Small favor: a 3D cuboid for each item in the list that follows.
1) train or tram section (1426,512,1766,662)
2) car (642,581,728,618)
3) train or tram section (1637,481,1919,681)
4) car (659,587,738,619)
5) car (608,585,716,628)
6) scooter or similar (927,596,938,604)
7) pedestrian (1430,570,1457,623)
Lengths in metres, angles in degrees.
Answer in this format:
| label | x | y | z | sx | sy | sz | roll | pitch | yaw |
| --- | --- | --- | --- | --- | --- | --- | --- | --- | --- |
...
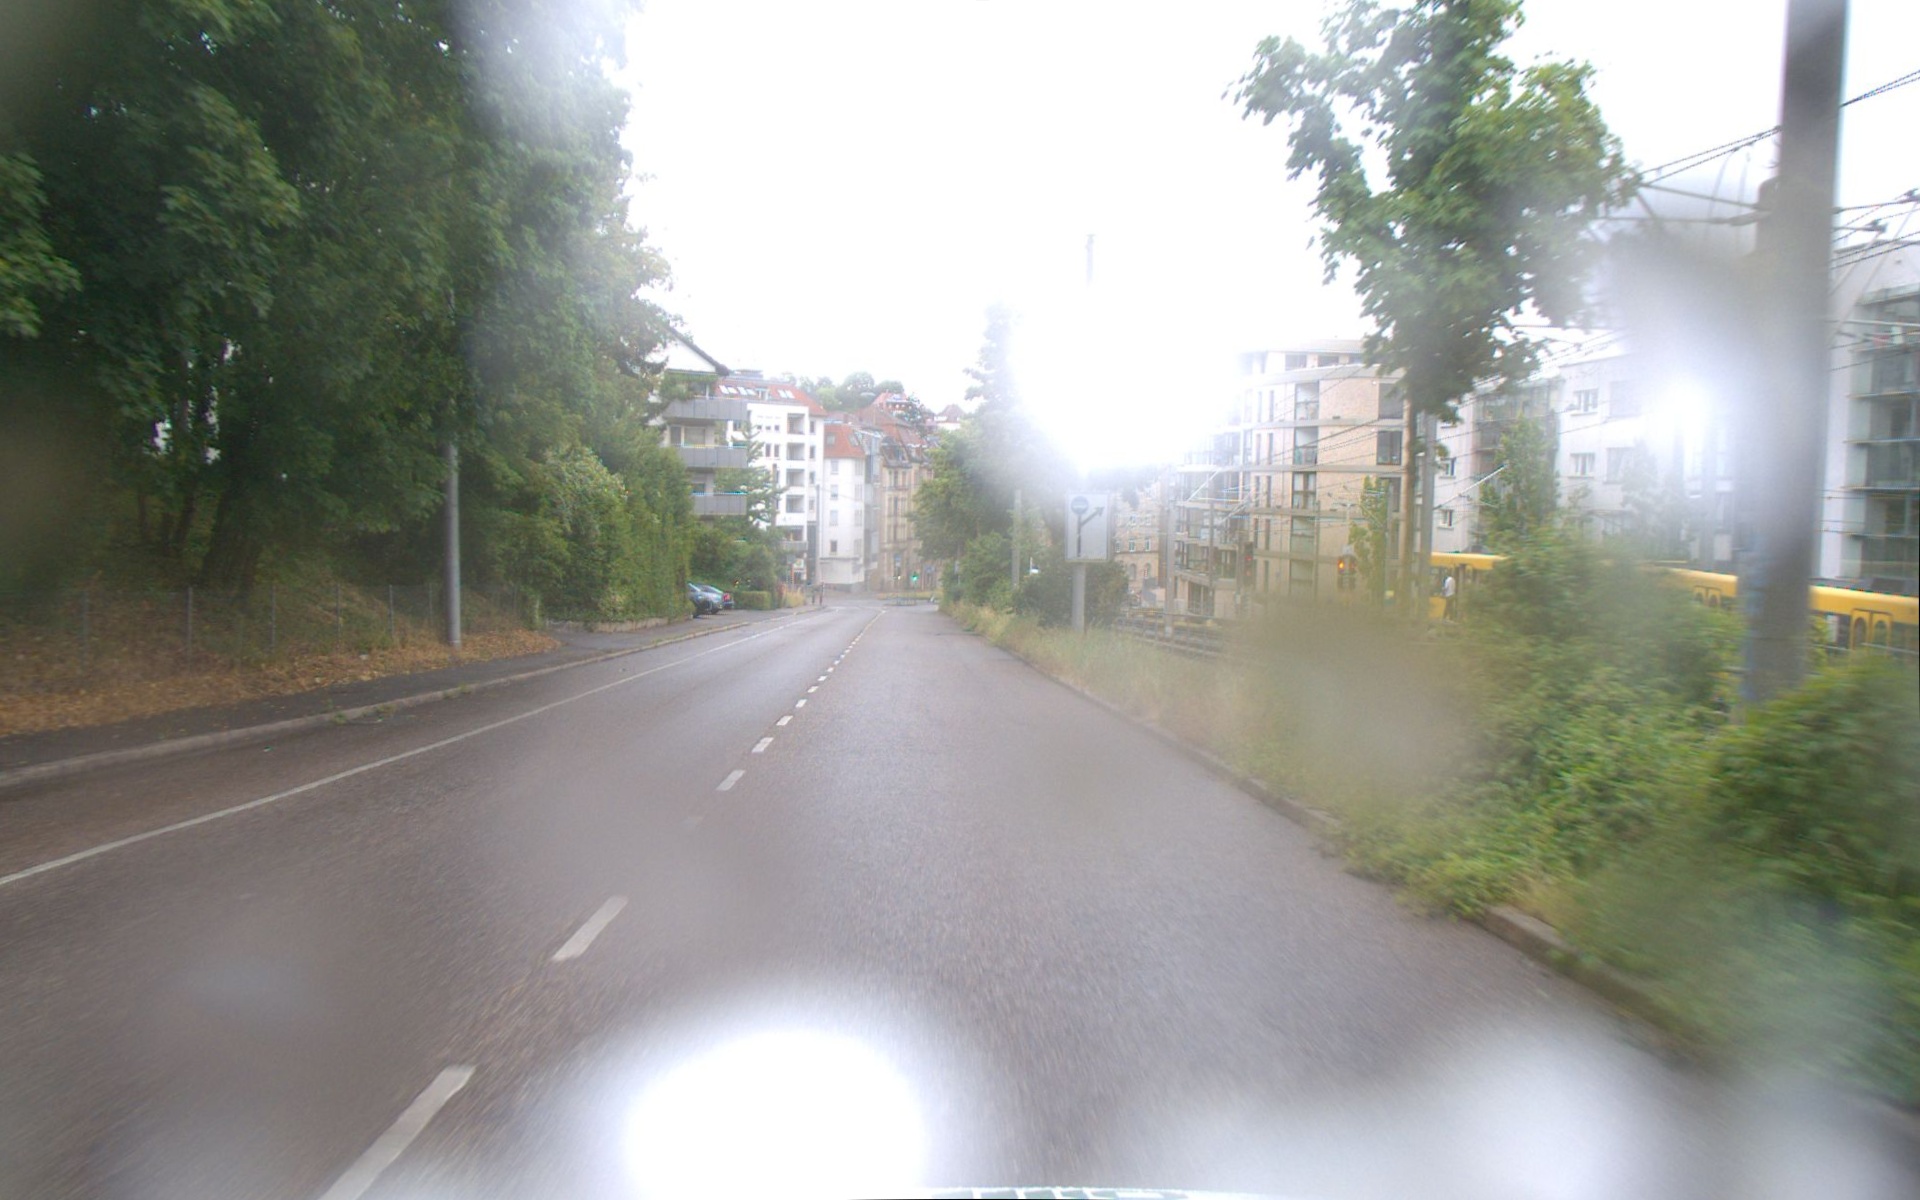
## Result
| label | x | y | z | sx | sy | sz | roll | pitch | yaw |
| --- | --- | --- | --- | --- | --- | --- | --- | --- | --- |
| train or tram section | 20.106 | -0.372 | 54.741 | 3.264 | 4.016 | 18.804 | 2 | 0 | -2 |
| car | -13.279 | -0.013 | 80.090 | 3.911 | 1.587 | 1.877 | 2 | -1 | -7 |
| train or tram section | 20.790 | -0.340 | 36.238 | 3.264 | 4.016 | 19.272 | 2 | 0 | -2 |
| car | -12.985 | 0.150 | 82.286 | 3.557 | 1.431 | 1.783 | 2 | -1 | -1 |
| car | -12.982 | 0.278 | 72.190 | 4.360 | 1.630 | 1.813 | 2 | 1 | -3 |
| scooter or similar | -2.641 | -0.008 | 156.417 | 0.475 | 0.775 | 1.328 | 1 | 0 | 25 |
| pedestrian | 17.818 | -0.111 | 60.939 | 0.707 | 1.913 | 0.817 | 2 | -2 | -2 |
